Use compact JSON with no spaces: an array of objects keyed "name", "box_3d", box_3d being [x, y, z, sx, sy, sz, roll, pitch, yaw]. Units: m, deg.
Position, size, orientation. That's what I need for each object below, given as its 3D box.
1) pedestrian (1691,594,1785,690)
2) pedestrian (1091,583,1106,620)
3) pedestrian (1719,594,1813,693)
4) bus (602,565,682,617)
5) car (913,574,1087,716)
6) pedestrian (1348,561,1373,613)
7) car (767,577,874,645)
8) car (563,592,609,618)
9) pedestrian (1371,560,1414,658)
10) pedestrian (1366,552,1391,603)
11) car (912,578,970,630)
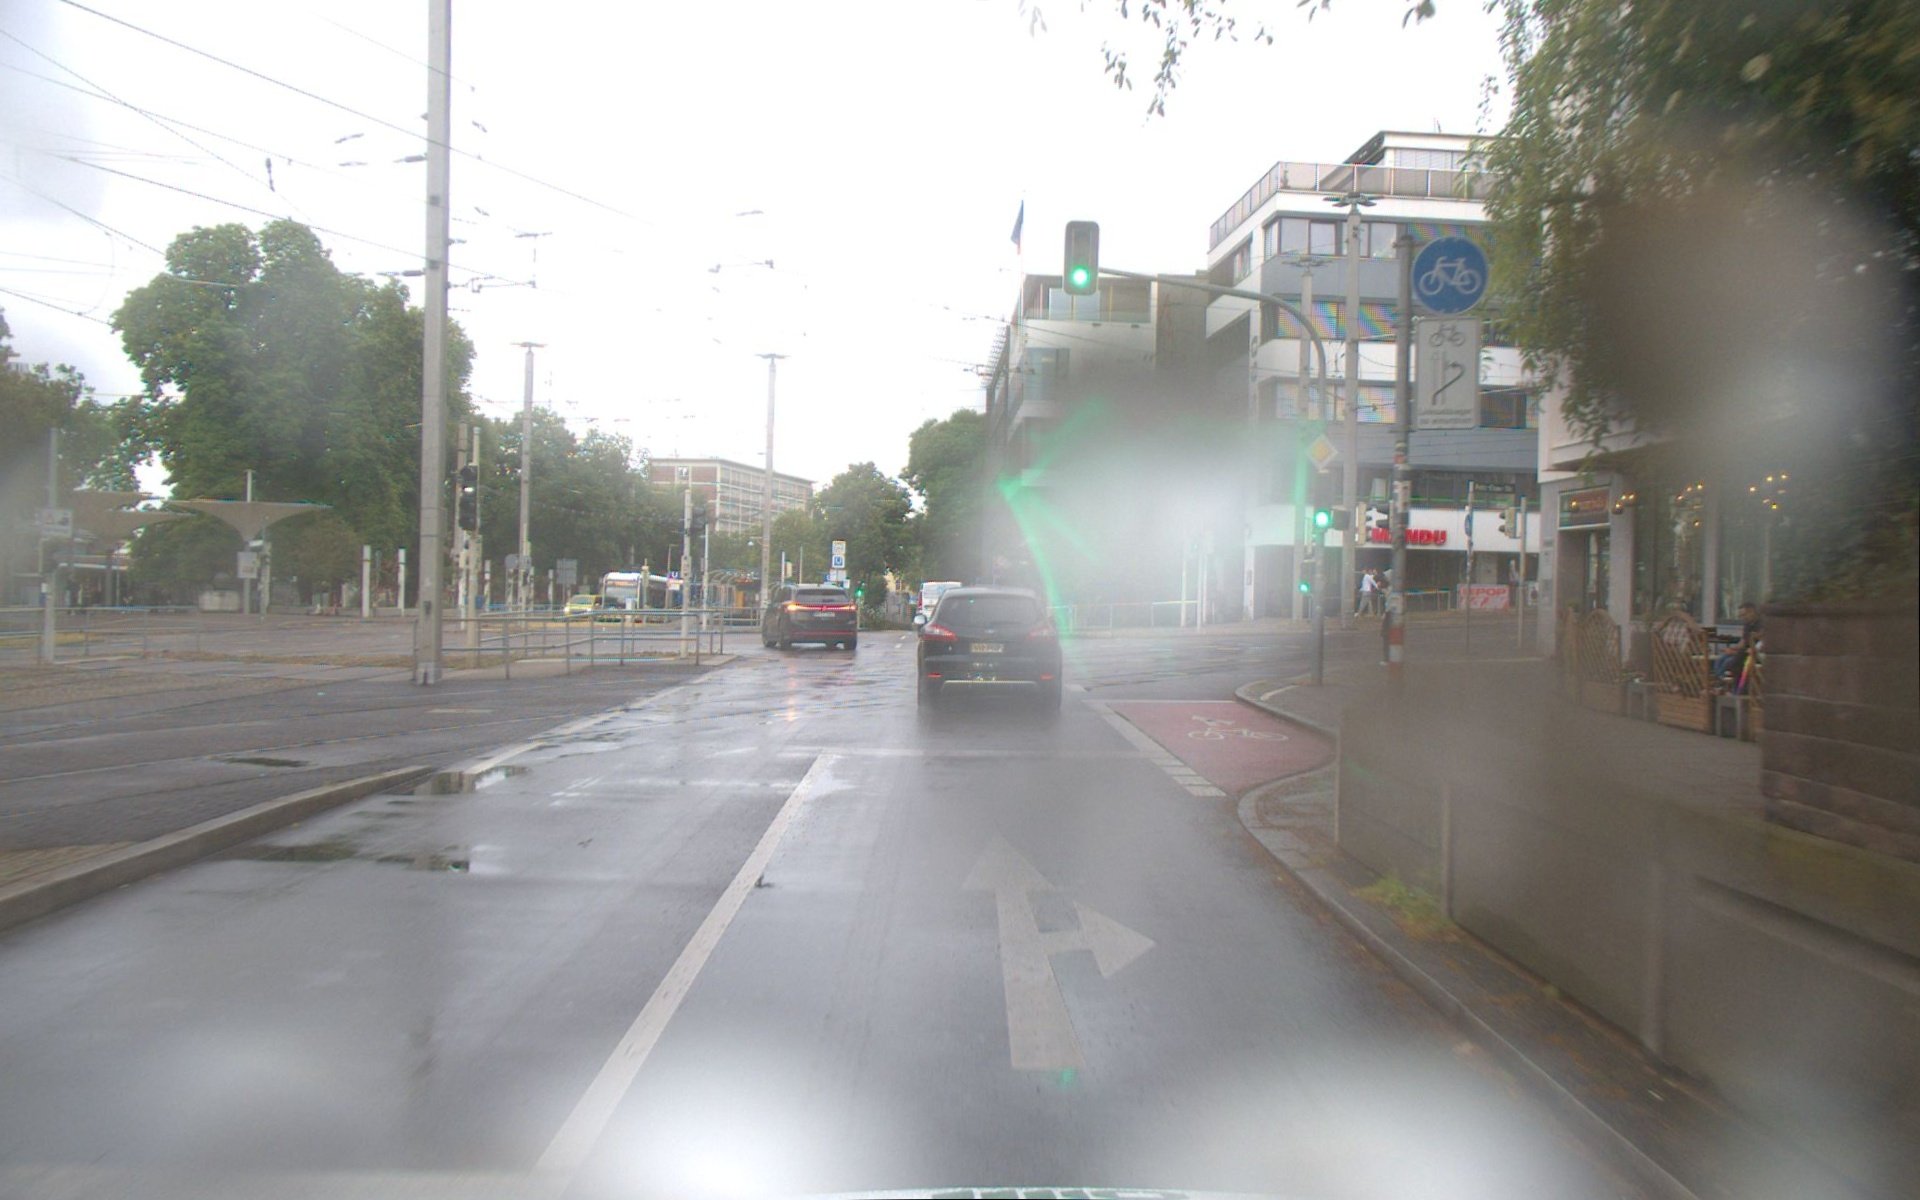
[{"name":"pedestrian","box_3d":[10.107,0.537,21.519,0.910,1.212,0.635,-1,0,-1]},{"name":"pedestrian","box_3d":[5.912,0.050,70.662,0.530,1.590,0.521,0,0,20]},{"name":"pedestrian","box_3d":[10.135,0.544,20.817,0.897,1.212,0.568,-1,0,-1]},{"name":"bus","box_3d":[-21.548,-0.608,112.774,3.014,3.358,12.522,0,0,0]},{"name":"car","box_3d":[0.447,0.500,21.506,1.994,1.612,4.392,1,1,-1]},{"name":"pedestrian","box_3d":[15.194,-0.481,62.795,0.705,1.947,0.695,0,0,37]},{"name":"car","box_3d":[-3.434,0.237,39.873,2.061,1.532,4.719,0,0,-11]},{"name":"car","box_3d":[-24.526,0.306,108.587,1.953,1.674,4.536,0,0,0]},{"name":"pedestrian","box_3d":[7.738,0.156,29.603,0.518,1.742,0.703,0,0,37]},{"name":"pedestrian","box_3d":[16.007,-0.851,63.246,0.705,1.947,0.695,0,0,37]},{"name":"car","box_3d":[-0.677,0.115,62.474,1.994,1.872,4.393,1,1,1]}]
